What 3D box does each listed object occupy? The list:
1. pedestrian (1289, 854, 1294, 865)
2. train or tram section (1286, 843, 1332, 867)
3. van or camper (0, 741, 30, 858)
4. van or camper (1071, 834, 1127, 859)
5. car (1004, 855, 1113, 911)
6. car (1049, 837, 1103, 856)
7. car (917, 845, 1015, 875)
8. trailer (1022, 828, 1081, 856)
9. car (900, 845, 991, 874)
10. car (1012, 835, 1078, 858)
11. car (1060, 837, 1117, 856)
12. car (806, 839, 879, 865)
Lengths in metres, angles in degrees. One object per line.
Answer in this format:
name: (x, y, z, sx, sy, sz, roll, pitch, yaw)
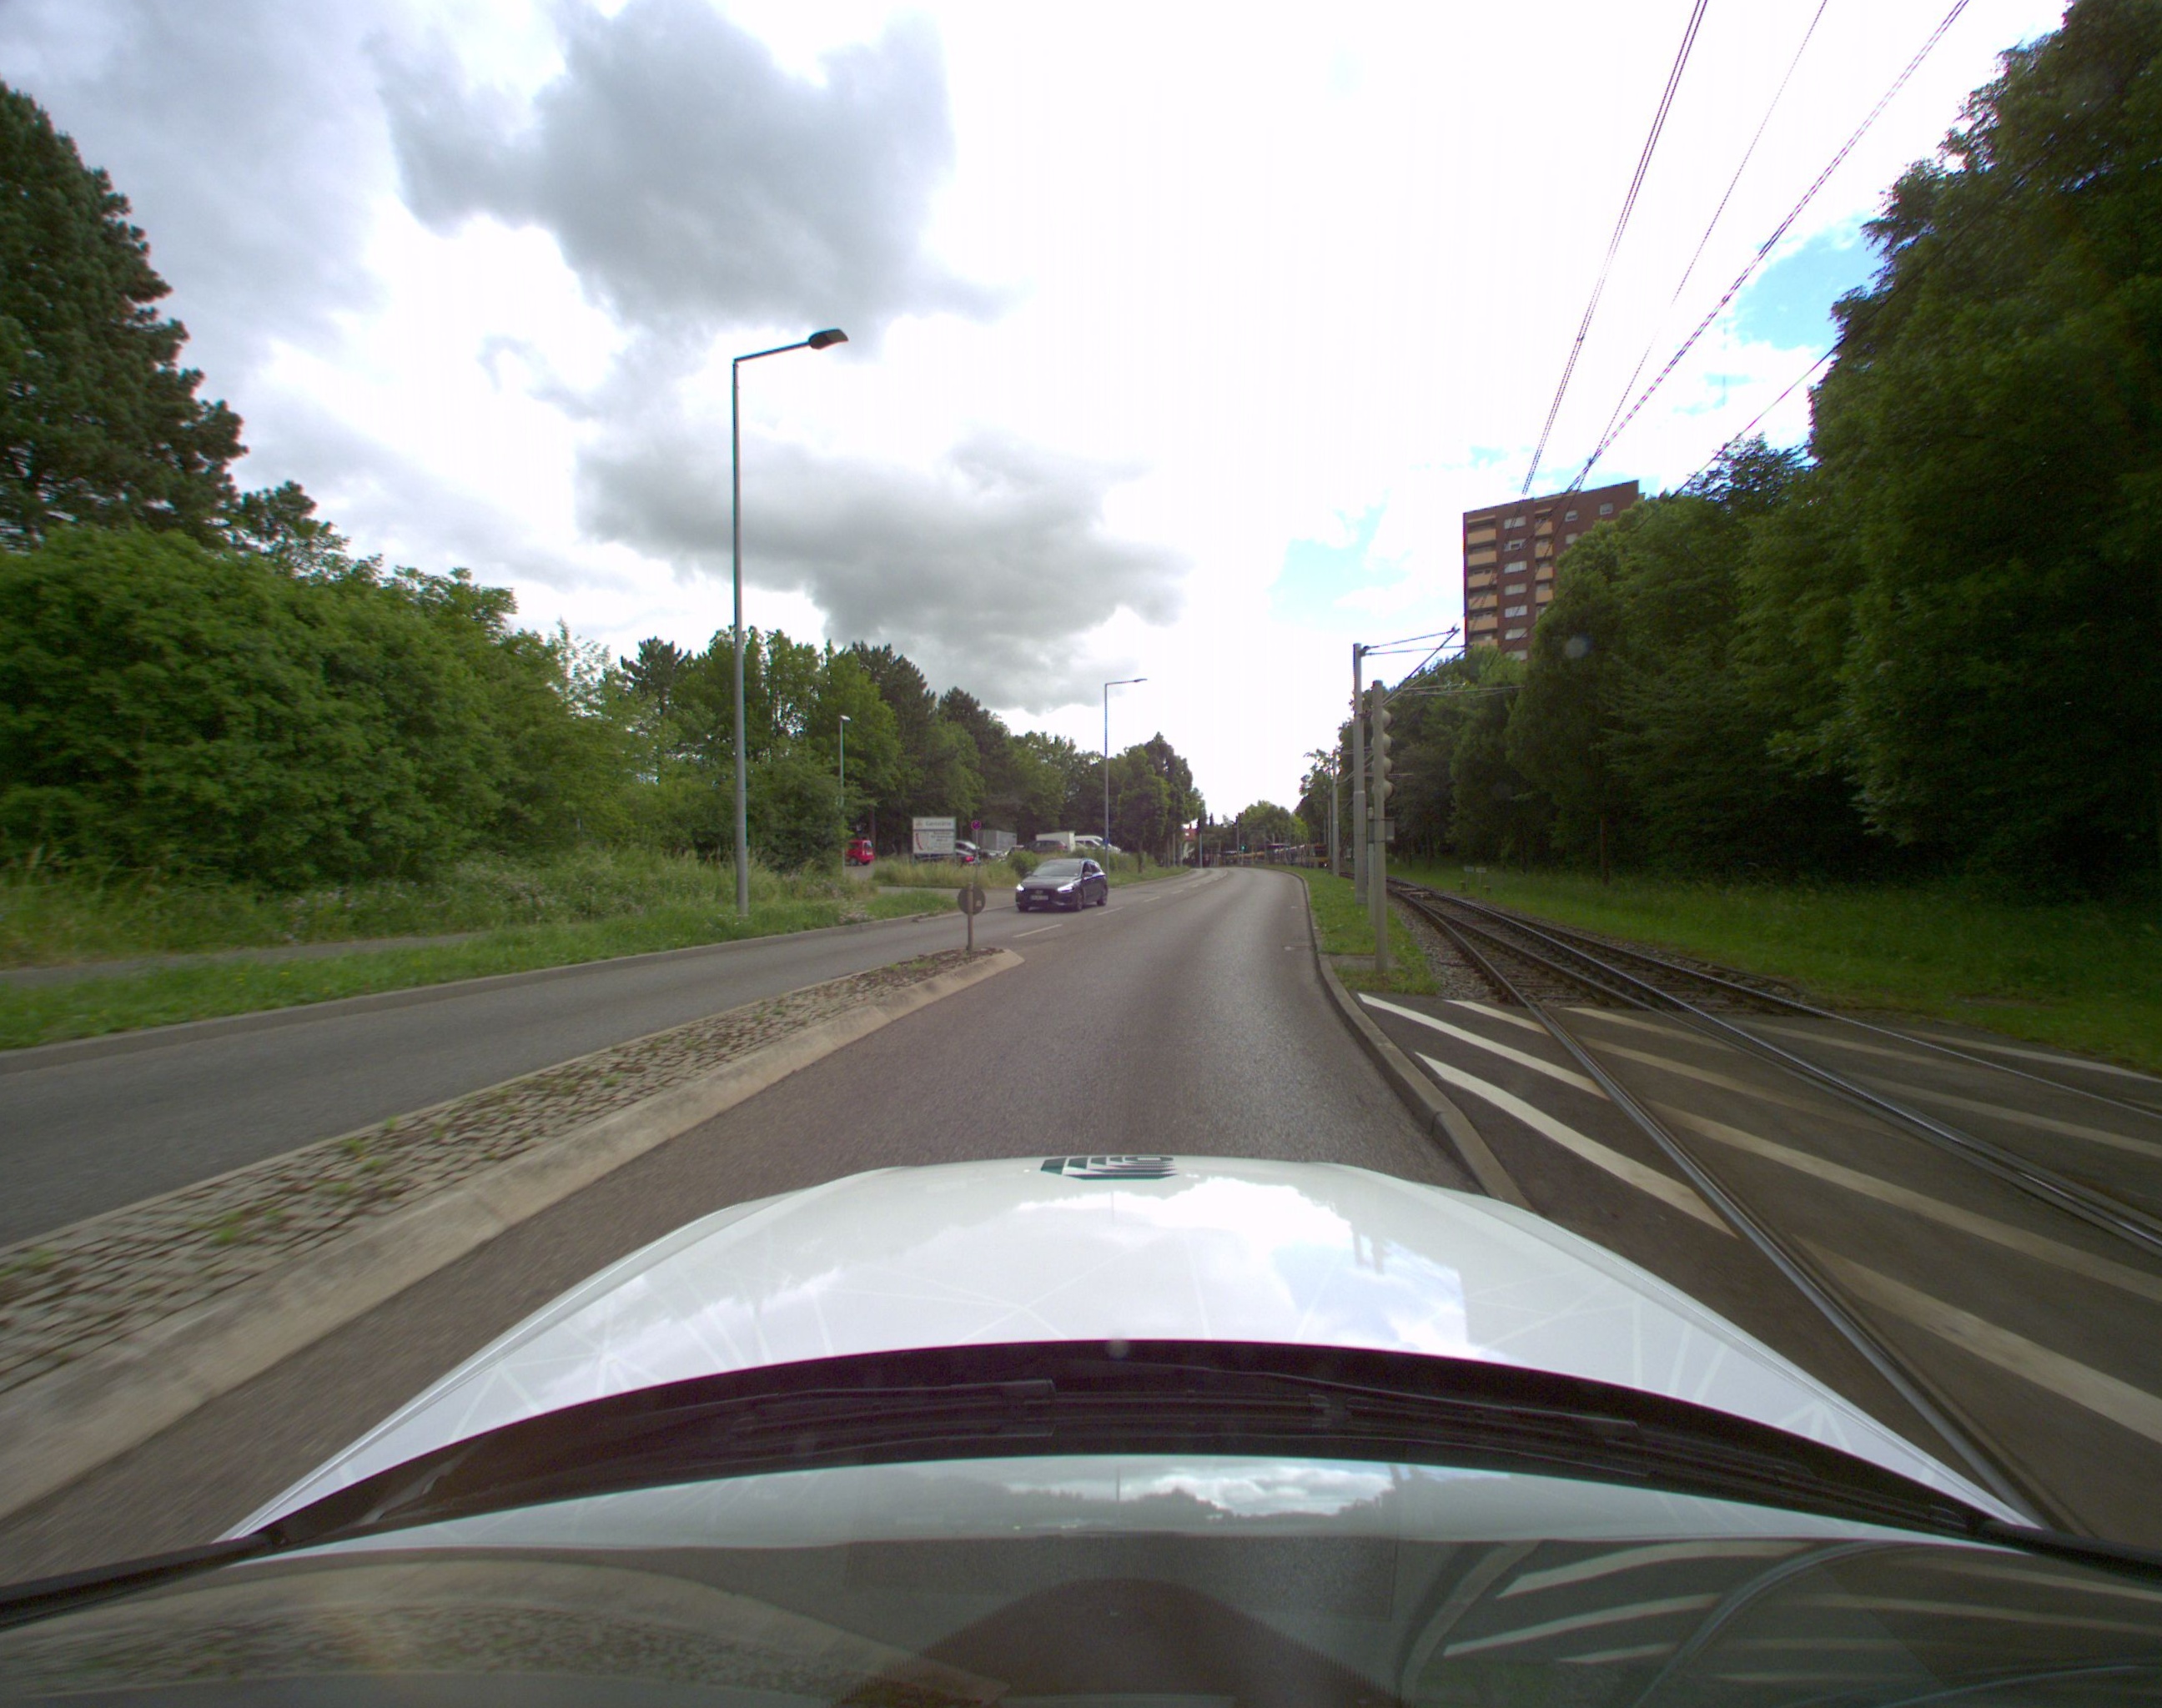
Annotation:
pedestrian: (27.182, 0.746, 105.291, 0.564, 1.464, 0.597, 0, 0, 7)
train or tram section: (35.381, 0.083, 128.044, 2.990, 3.310, 34.800, 0, 0, 9)
van or camper: (-18.833, -0.857, 11.376, 1.979, 1.877, 4.647, 0, 0, 14)
van or camper: (1.655, -0.657, 74.015, 4.859, 2.203, 2.007, 0, 0, 11)
car: (-0.531, 0.760, 23.767, 1.979, 1.438, 4.444, 0, 1, 15)
car: (-0.419, -0.620, 68.861, 4.282, 1.507, 2.006, 0, 0, 11)
car: (-6.299, 0.337, 44.929, 4.894, 1.585, 2.214, 0, 0, 11)
trailer: (-2.163, -0.837, 60.024, 3.958, 2.013, 1.916, 0, 0, 15)
car: (-6.585, 0.252, 39.776, 3.930, 1.397, 2.006, 0, 0, 9)
car: (-2.494, -0.492, 56.971, 4.287, 1.448, 1.840, -2, 0, 8)
car: (0.651, -0.647, 71.628, 4.604, 1.656, 2.010, 0, 0, 19)
car: (-15.244, -0.125, 52.196, 3.965, 1.662, 2.004, 0, 0, 7)
